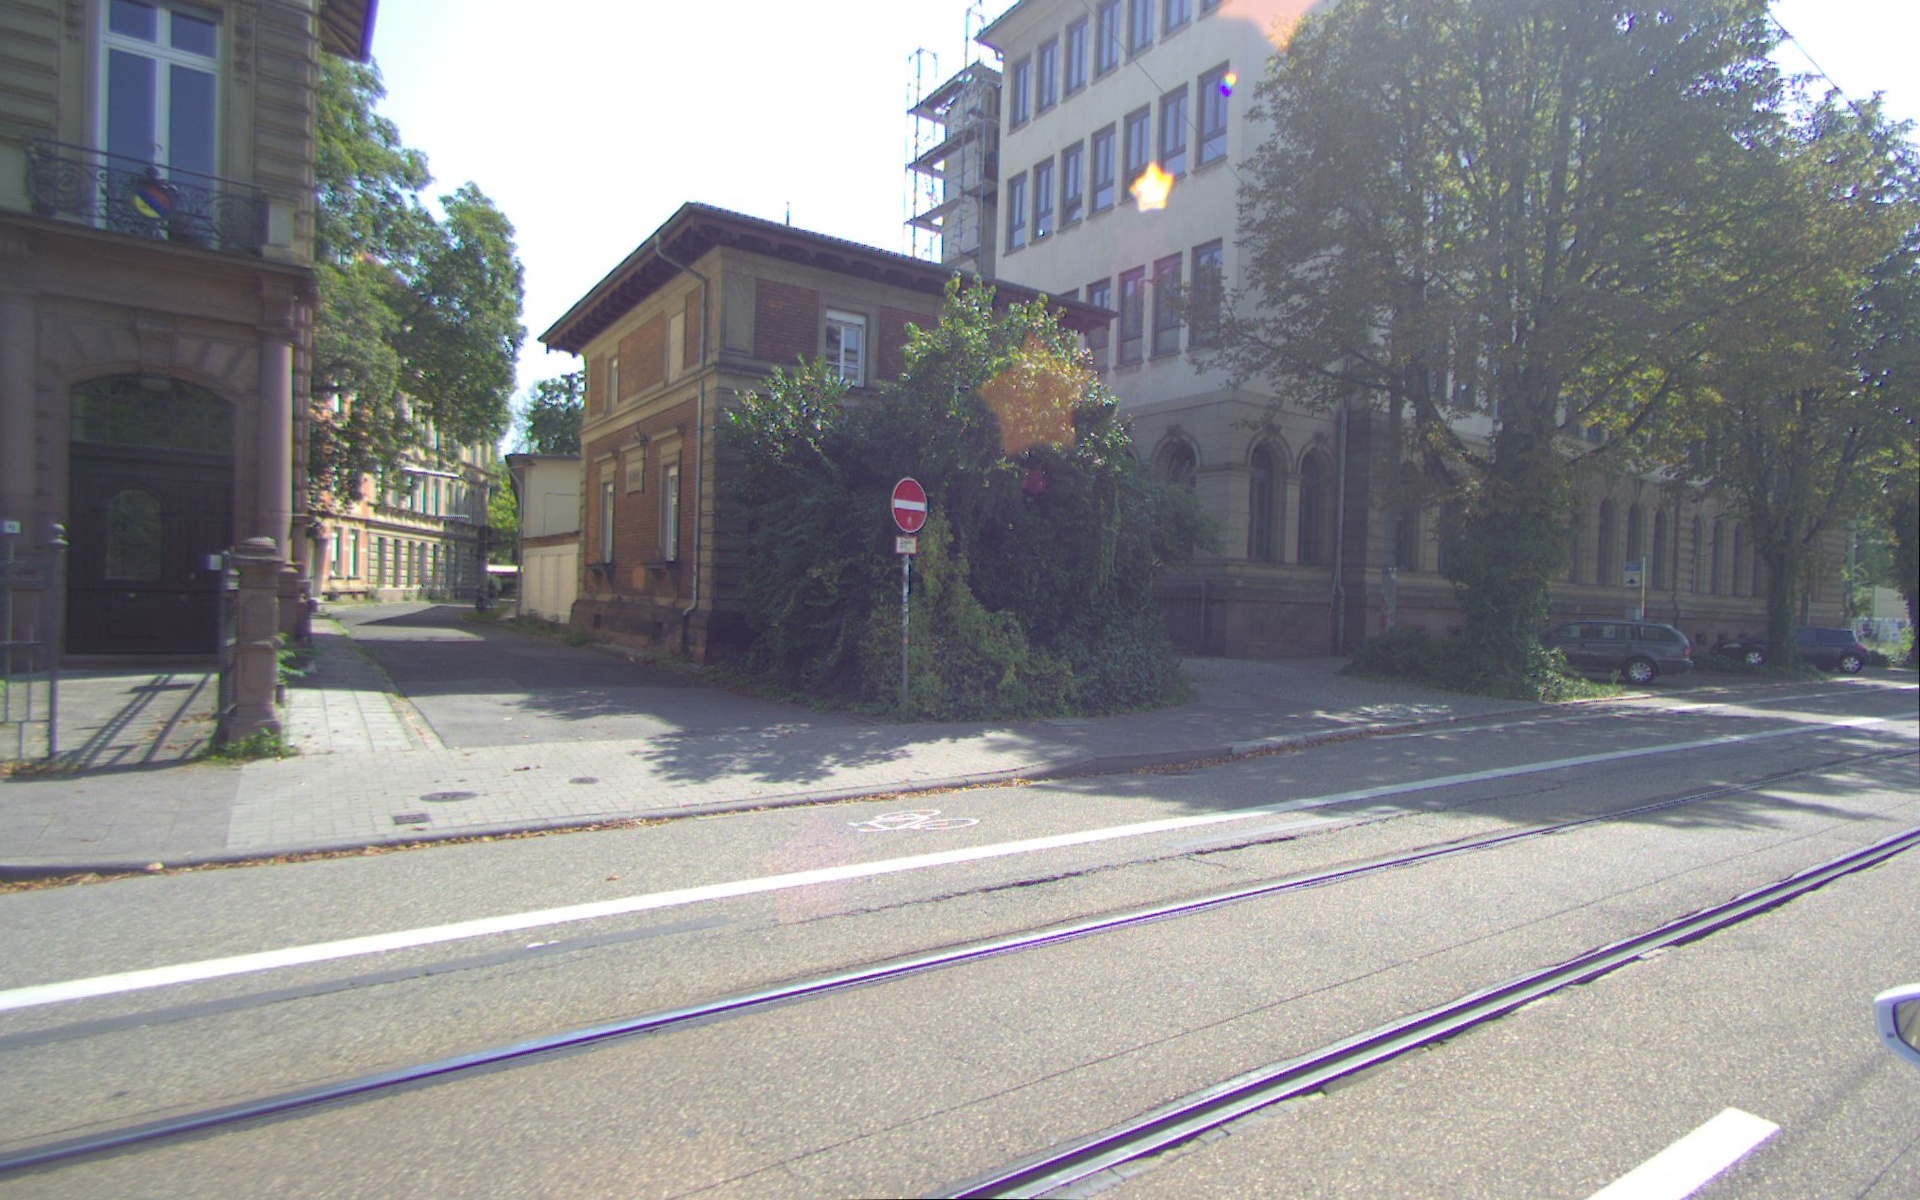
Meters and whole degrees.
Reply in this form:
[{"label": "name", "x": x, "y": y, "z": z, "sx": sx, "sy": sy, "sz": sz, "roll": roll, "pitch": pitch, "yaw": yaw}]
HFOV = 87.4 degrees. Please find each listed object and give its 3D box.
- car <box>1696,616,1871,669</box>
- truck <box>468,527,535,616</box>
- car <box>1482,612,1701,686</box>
[{"label": "car", "x": 27.269, "y": 1.366, "z": 33.433, "sx": 4.081, "sy": 1.516, "sz": 1.821, "roll": 2, "pitch": 1, "yaw": 19}, {"label": "truck", "x": -18.241, "y": -1.117, "z": 39.798, "sx": 1.975, "sy": 3.157, "sz": 6.232, "roll": 2, "pitch": 1, "yaw": -28}, {"label": "car", "x": 15.304, "y": 1.132, "z": 24.643, "sx": 4.349, "sy": 1.481, "sz": 1.818, "roll": 3, "pitch": 1, "yaw": 30}]
